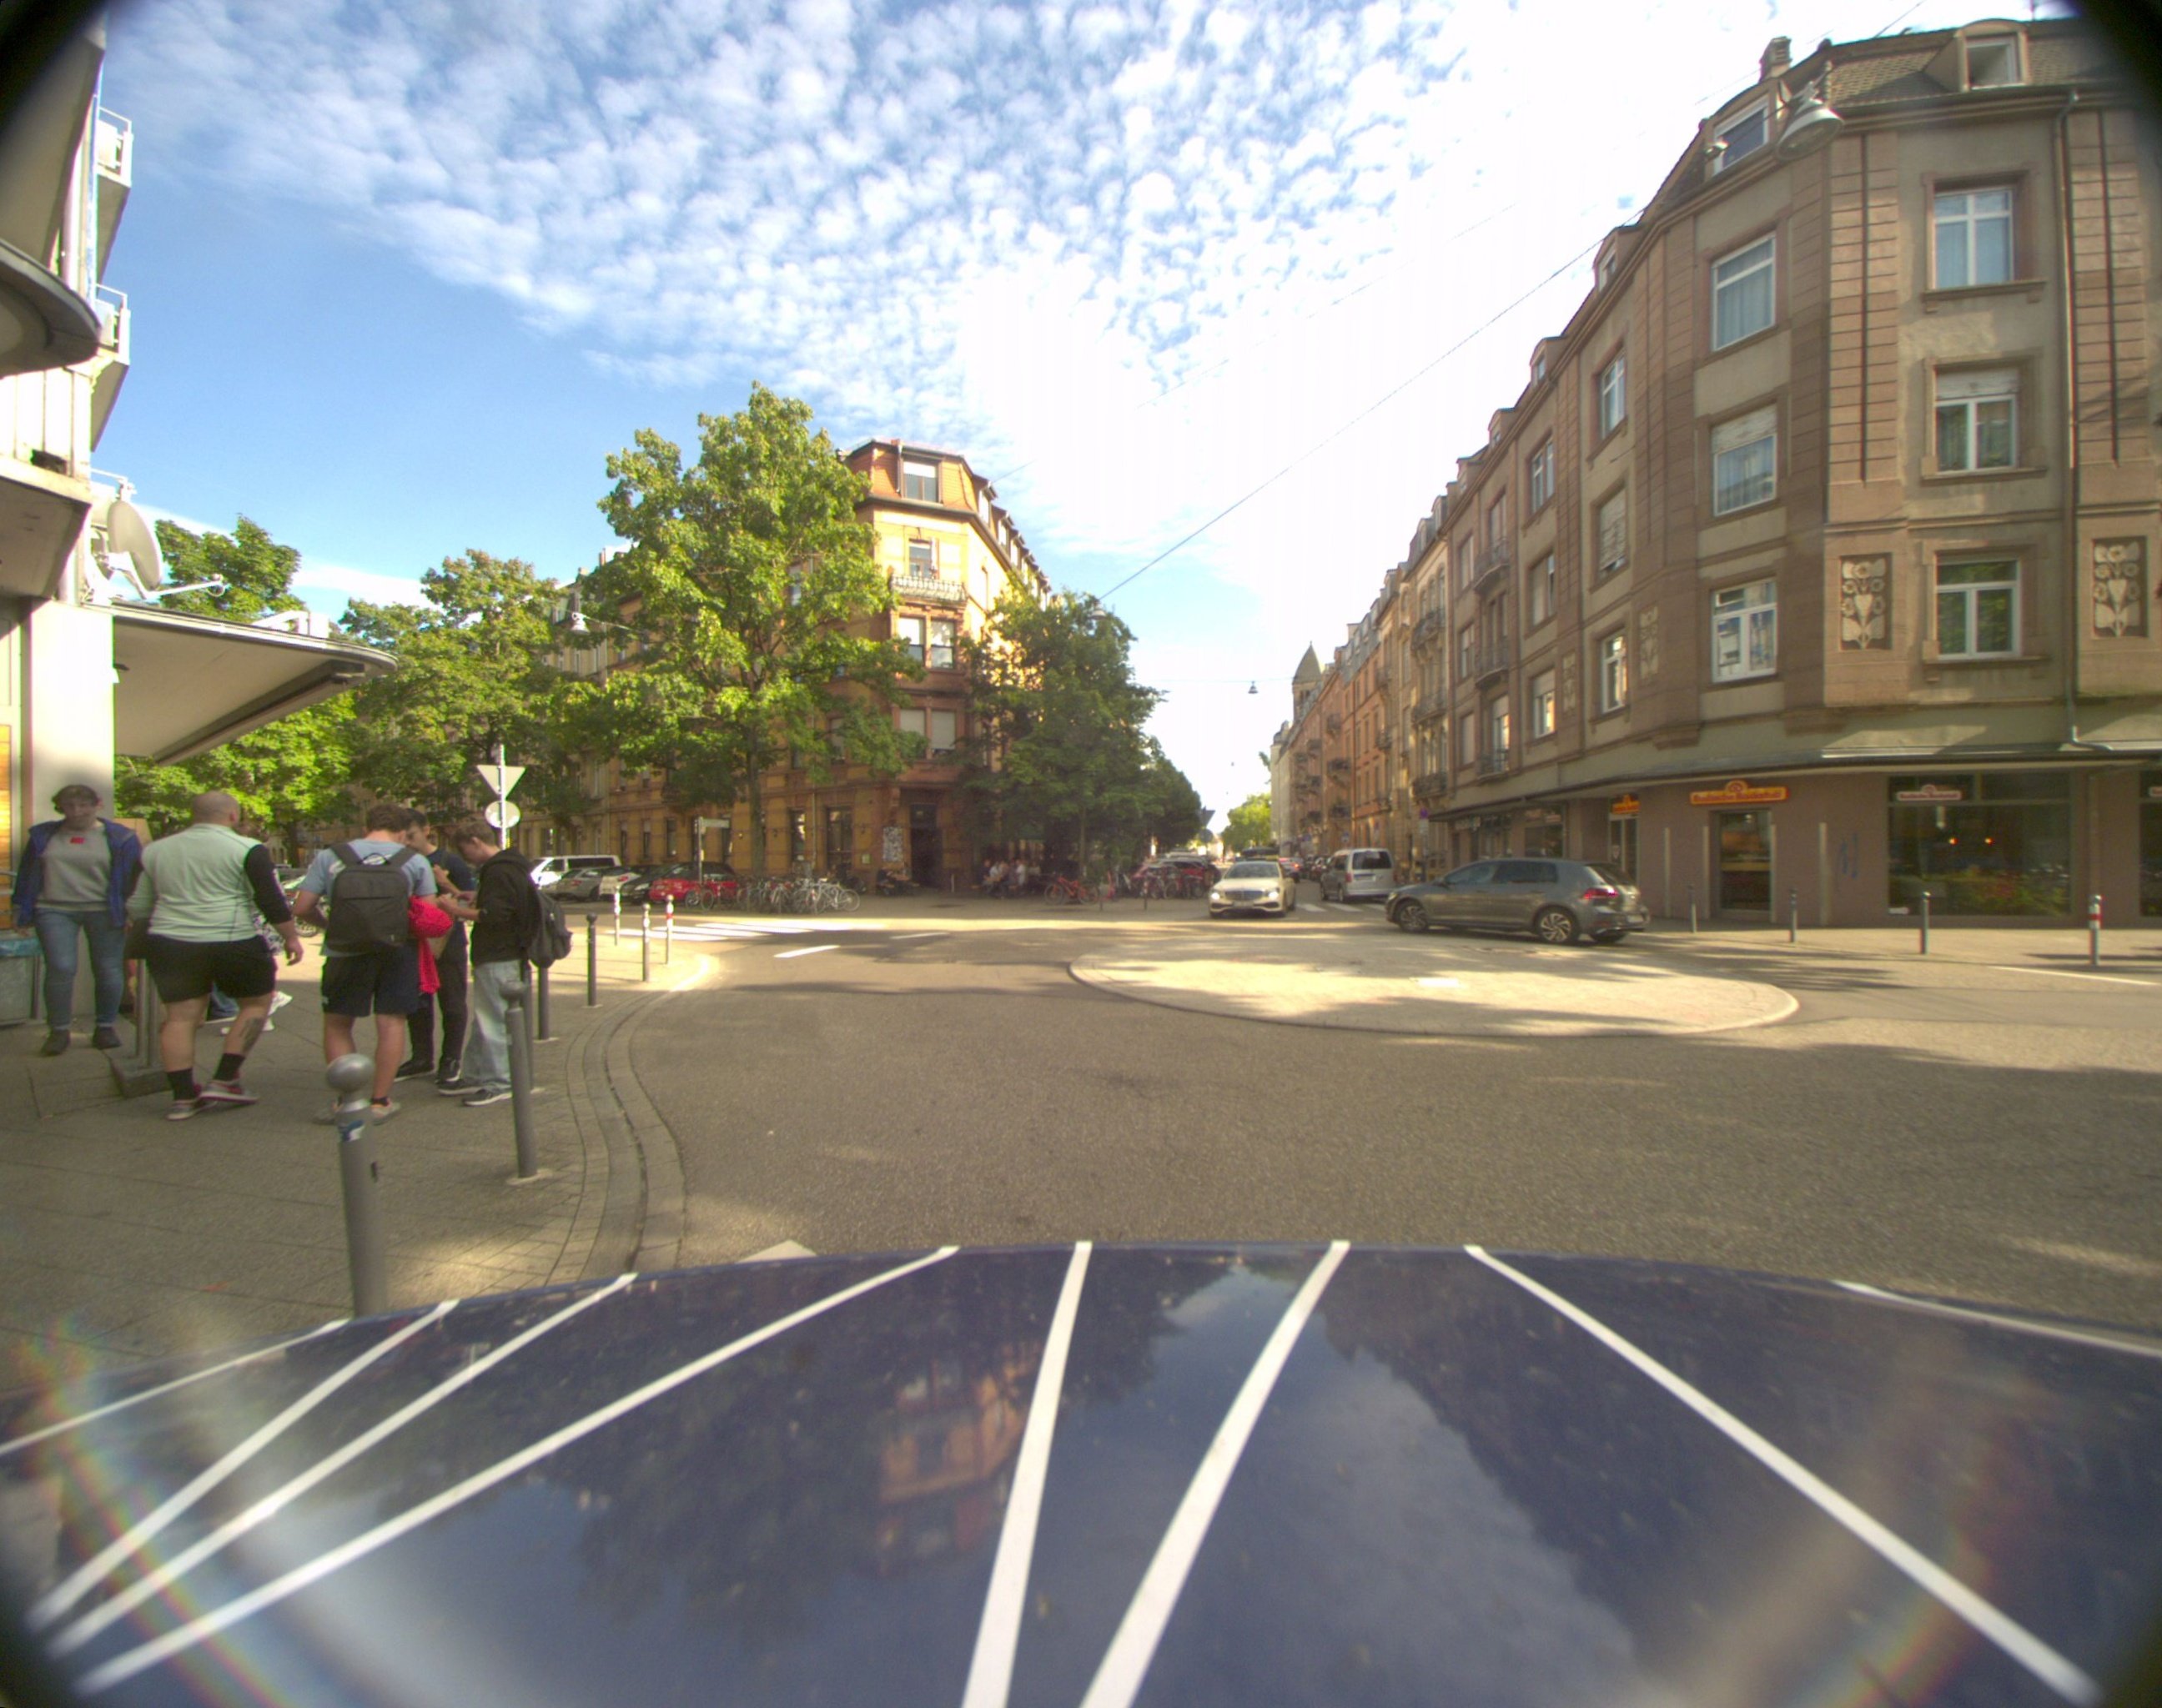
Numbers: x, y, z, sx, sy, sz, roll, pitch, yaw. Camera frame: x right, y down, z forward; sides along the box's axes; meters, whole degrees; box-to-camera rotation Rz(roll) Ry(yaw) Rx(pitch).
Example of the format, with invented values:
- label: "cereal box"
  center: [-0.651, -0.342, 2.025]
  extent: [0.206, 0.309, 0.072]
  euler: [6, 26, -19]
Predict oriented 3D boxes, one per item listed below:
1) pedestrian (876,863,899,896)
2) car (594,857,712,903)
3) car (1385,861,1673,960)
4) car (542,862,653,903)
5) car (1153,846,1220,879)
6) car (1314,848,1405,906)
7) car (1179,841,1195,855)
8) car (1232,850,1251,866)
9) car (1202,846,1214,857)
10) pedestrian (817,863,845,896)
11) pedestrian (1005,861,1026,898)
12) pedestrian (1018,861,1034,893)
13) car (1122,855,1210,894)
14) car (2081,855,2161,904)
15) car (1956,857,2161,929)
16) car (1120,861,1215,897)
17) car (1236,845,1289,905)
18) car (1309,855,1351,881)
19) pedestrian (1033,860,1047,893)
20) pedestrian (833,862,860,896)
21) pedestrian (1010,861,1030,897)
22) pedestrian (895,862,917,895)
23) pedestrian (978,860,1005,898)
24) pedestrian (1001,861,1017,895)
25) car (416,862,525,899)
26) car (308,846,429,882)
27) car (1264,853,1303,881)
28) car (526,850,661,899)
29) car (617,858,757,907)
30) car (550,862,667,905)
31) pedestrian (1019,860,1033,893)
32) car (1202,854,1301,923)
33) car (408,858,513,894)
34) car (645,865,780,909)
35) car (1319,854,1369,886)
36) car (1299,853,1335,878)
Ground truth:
- label: "pedestrian"
  center: [-7.528, 0.996, 29.542]
  extent: [0.510, 1.218, 0.643]
  euler: [2, 4, 42]
- label: "car"
  center: [-17.454, 1.037, 31.089]
  extent: [1.856, 1.711, 3.715]
  euler: [-2, 0, 36]
- label: "car"
  center: [7.560, 0.849, 13.256]
  extent: [1.800, 1.429, 3.991]
  euler: [1, -1, -28]
- label: "car"
  center: [-21.366, 1.205, 33.666]
  extent: [1.665, 1.450, 3.714]
  euler: [0, 3, 36]
- label: "car"
  center: [8.307, 0.637, 59.820]
  extent: [4.744, 2.408, 1.996]
  euler: [-2, 0, -22]
- label: "car"
  center: [9.413, 0.750, 26.042]
  extent: [1.833, 1.780, 4.333]
  euler: [-1, -1, 5]
- label: "car"
  center: [14.517, -0.835, 103.870]
  extent: [1.849, 1.724, 4.002]
  euler: [-2, 0, 4]
- label: "car"
  center: [19.982, 0.510, 94.687]
  extent: [1.942, 1.868, 4.840]
  euler: [-2, 0, 9]
- label: "car"
  center: [23.185, -0.443, 138.604]
  extent: [1.997, 1.877, 4.004]
  euler: [-2, 0, 12]
- label: "pedestrian"
  center: [-10.058, 1.014, 30.575]
  extent: [0.627, 1.278, 0.770]
  euler: [-1, 2, 33]
- label: "pedestrian"
  center: [-2.404, 0.930, 27.885]
  extent: [0.729, 1.307, 0.521]
  euler: [-1, 0, -2]
- label: "pedestrian"
  center: [-2.178, 0.910, 30.164]
  extent: [0.549, 1.225, 0.621]
  euler: [0, 1, -14]
- label: "car"
  center: [3.789, 0.914, 34.191]
  extent: [3.589, 1.606, 1.511]
  euler: [2, 0, -13]
- label: "car"
  center: [37.101, 0.828, 25.816]
  extent: [3.627, 1.557, 1.580]
  euler: [-2, 0, 12]
- label: "car"
  center: [23.127, 0.820, 17.306]
  extent: [1.765, 1.421, 4.000]
  euler: [-2, 0, 0]
- label: "car"
  center: [3.587, 1.024, 31.652]
  extent: [3.590, 1.372, 1.511]
  euler: [2, 0, -16]
- label: "car"
  center: [6.740, 0.734, 28.322]
  extent: [1.791, 2.051, 4.004]
  euler: [-1, 0, 13]
- label: "car"
  center: [14.960, 0.814, 45.885]
  extent: [1.760, 1.488, 4.136]
  euler: [-2, 0, 9]
- label: "pedestrian"
  center: [-1.670, 0.899, 30.758]
  extent: [0.467, 1.320, 0.621]
  euler: [0, 1, -14]
- label: "pedestrian"
  center: [-9.336, 0.987, 30.248]
  extent: [0.627, 1.278, 0.770]
  euler: [-1, 2, 33]
- label: "pedestrian"
  center: [-2.288, 0.936, 28.534]
  extent: [0.729, 1.307, 0.608]
  euler: [-1, 0, -2]
- label: "pedestrian"
  center: [-6.938, 0.953, 30.073]
  extent: [0.510, 1.252, 0.643]
  euler: [2, 4, 42]
- label: "pedestrian"
  center: [-3.296, 0.900, 27.912]
  extent: [0.715, 1.371, 0.671]
  euler: [0, 2, 44]
- label: "pedestrian"
  center: [-2.836, 0.929, 29.976]
  extent: [0.549, 1.293, 0.621]
  euler: [0, 1, -14]
- label: "car"
  center: [-35.629, 1.486, 44.481]
  extent: [1.931, 1.824, 4.466]
  euler: [0, 3, 32]
- label: "car"
  center: [-47.044, 0.626, 50.323]
  extent: [1.995, 2.188, 5.493]
  euler: [-2, 0, 35]
- label: "car"
  center: [12.635, 0.798, 47.699]
  extent: [1.997, 1.624, 4.848]
  euler: [-1, 0, 11]
- label: "car"
  center: [-23.146, 0.908, 36.286]
  extent: [2.041, 1.978, 4.919]
  euler: [0, 3, 32]
- label: "car"
  center: [-15.176, 1.033, 29.454]
  extent: [2.001, 1.561, 4.320]
  euler: [-1, 2, 41]
- label: "car"
  center: [-19.724, 1.204, 31.839]
  extent: [1.665, 1.449, 3.714]
  euler: [-2, 2, 36]
- label: "pedestrian"
  center: [-2.247, 0.922, 31.177]
  extent: [0.467, 1.320, 0.621]
  euler: [0, 1, -14]
- label: "car"
  center: [4.761, 0.854, 20.704]
  extent: [1.941, 1.588, 4.843]
  euler: [-2, 0, 20]
- label: "car"
  center: [-37.564, 1.276, 46.108]
  extent: [1.931, 1.824, 4.466]
  euler: [0, 3, 32]
- label: "car"
  center: [-13.218, 1.171, 27.511]
  extent: [1.564, 1.263, 4.120]
  euler: [-2, 1, 33]
- label: "car"
  center: [14.101, 0.816, 40.996]
  extent: [1.860, 1.575, 4.402]
  euler: [-2, 0, 10]
- label: "car"
  center: [16.145, 0.756, 52.148]
  extent: [1.760, 1.588, 4.345]
  euler: [-2, 0, 10]
